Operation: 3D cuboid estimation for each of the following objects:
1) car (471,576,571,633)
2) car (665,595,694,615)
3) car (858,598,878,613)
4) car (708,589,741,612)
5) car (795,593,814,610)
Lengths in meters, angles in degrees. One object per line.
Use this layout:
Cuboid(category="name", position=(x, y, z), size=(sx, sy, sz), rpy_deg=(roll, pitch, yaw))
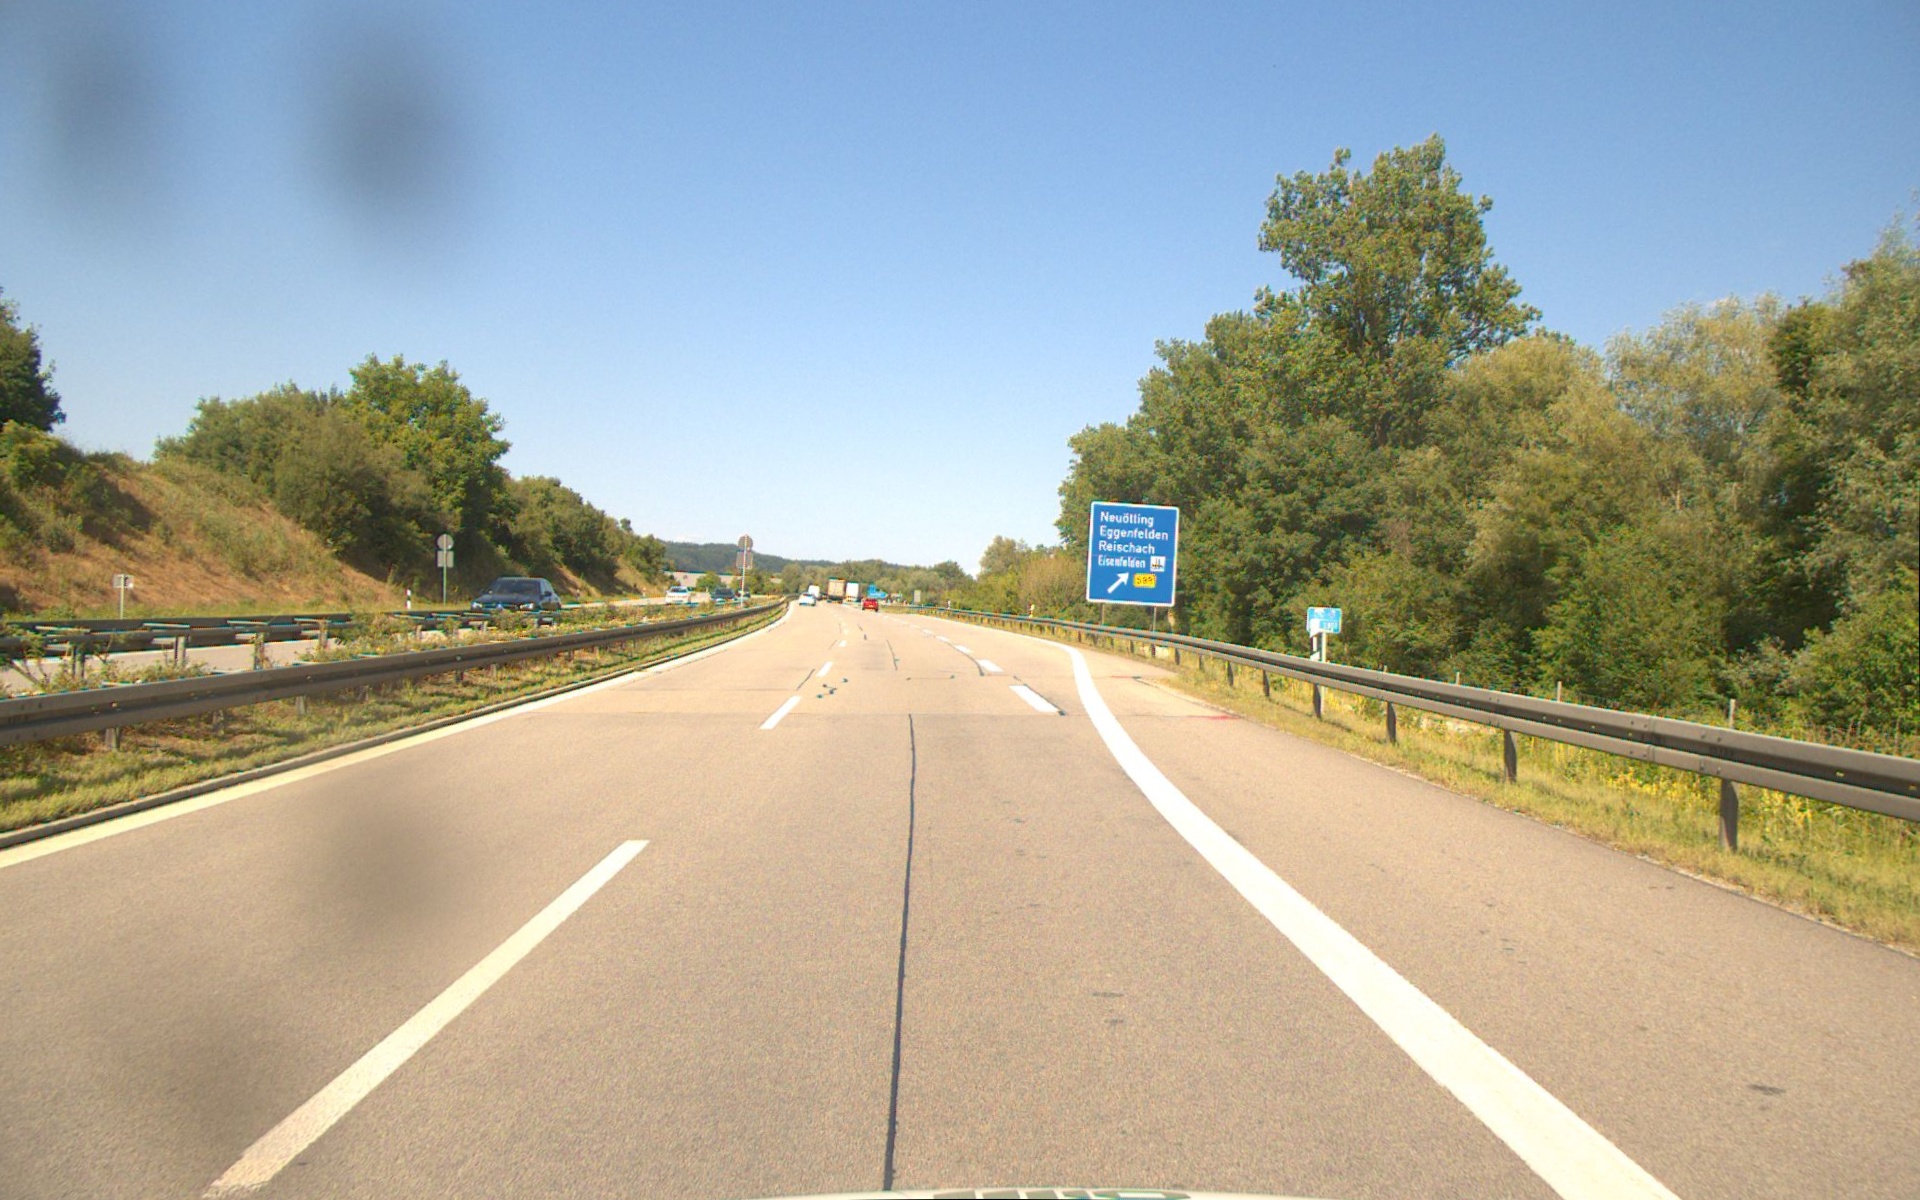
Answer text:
Cuboid(category="car", position=(-12.199, 0.162, 46.271), size=(1.612, 1.480, 4.904), rpy_deg=(1, -1, -2))
Cuboid(category="car", position=(-21.712, 0.378, 127.959), size=(1.803, 1.464, 4.408), rpy_deg=(2, 0, -5))
Cuboid(category="car", position=(-10.334, 0.588, 185.374), size=(1.747, 1.456, 4.001), rpy_deg=(6, -1, 2))
Cuboid(category="car", position=(-16.767, 0.058, 117.807), size=(1.954, 1.572, 4.672), rpy_deg=(1, 0, -4))
Cuboid(category="car", position=(-17.404, 0.173, 184.958), size=(2.022, 1.653, 3.994), rpy_deg=(2, -2, -6))
